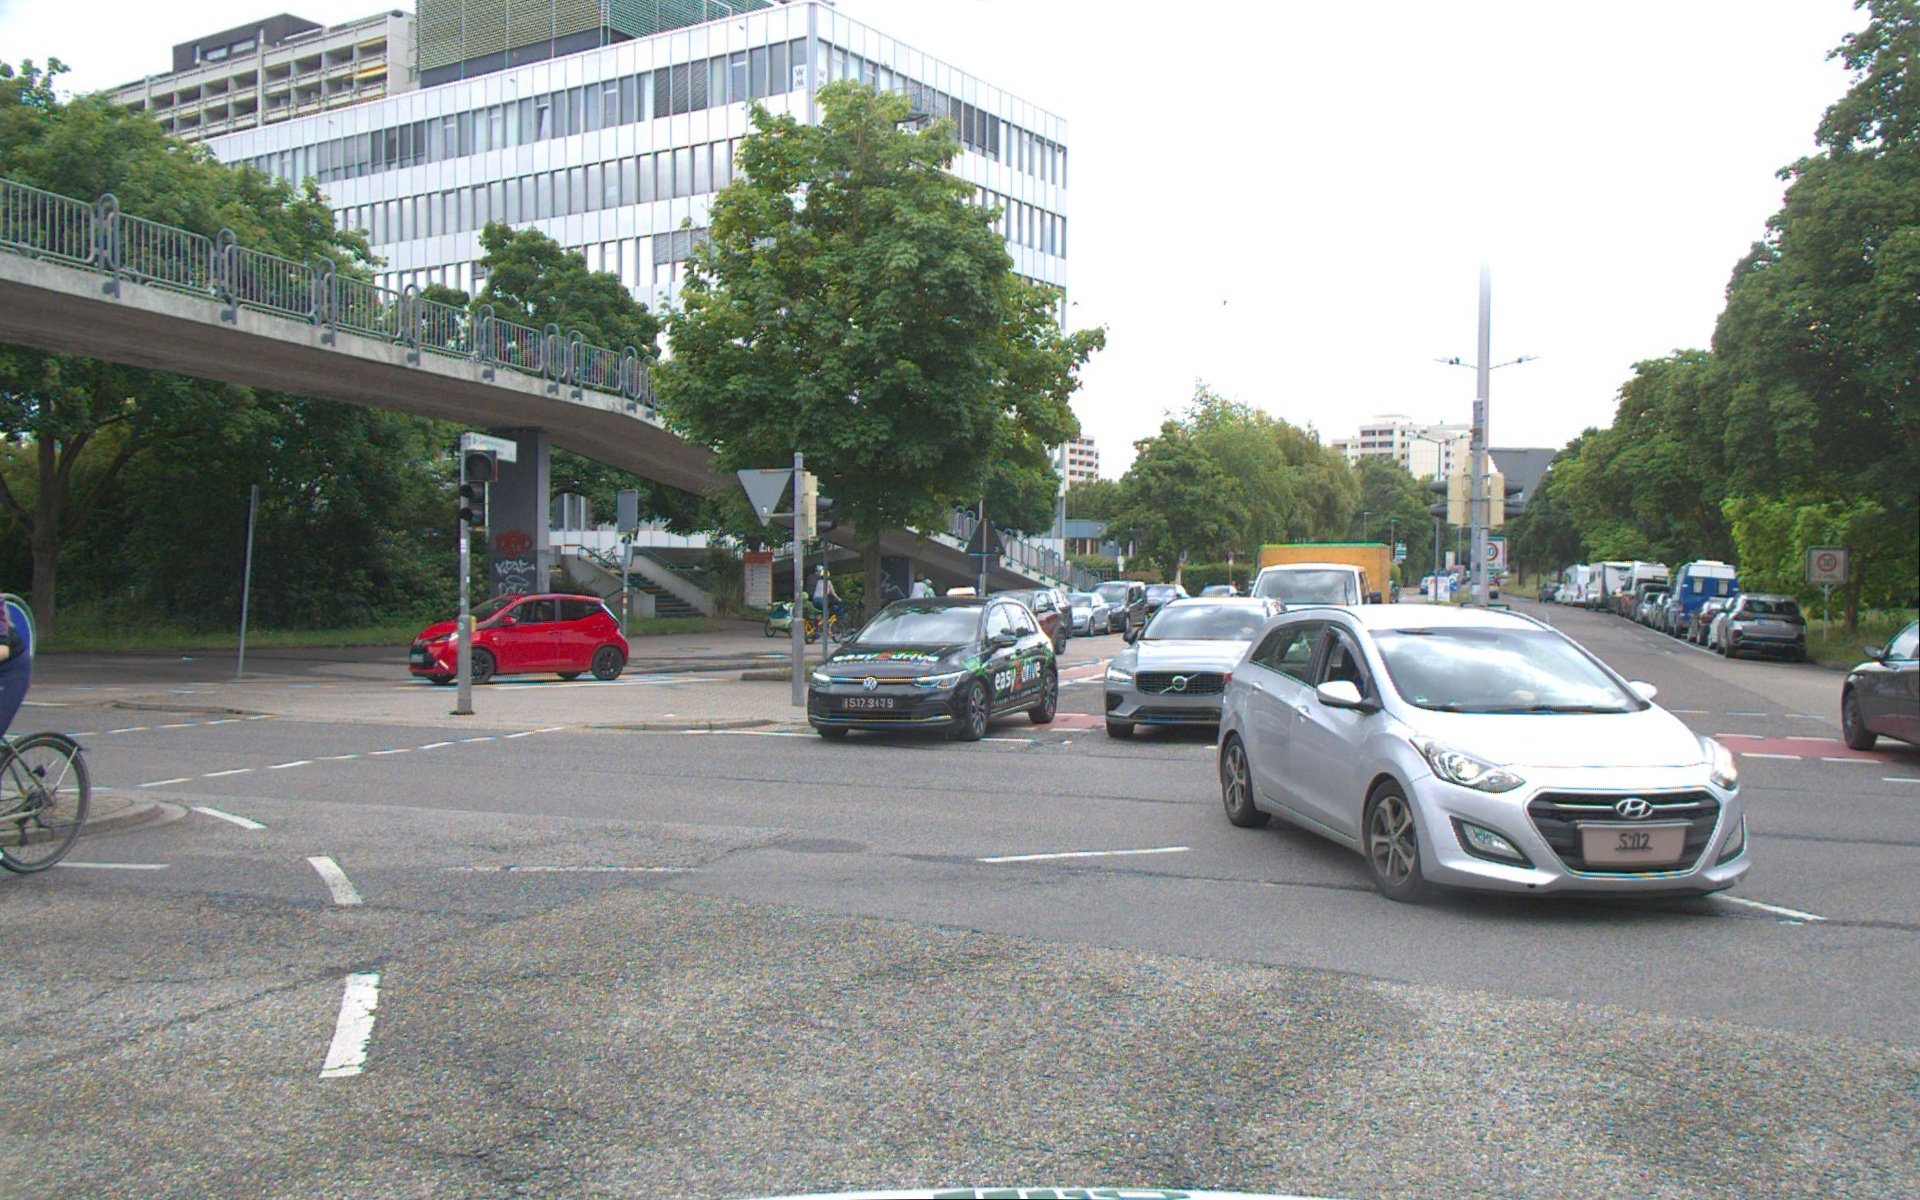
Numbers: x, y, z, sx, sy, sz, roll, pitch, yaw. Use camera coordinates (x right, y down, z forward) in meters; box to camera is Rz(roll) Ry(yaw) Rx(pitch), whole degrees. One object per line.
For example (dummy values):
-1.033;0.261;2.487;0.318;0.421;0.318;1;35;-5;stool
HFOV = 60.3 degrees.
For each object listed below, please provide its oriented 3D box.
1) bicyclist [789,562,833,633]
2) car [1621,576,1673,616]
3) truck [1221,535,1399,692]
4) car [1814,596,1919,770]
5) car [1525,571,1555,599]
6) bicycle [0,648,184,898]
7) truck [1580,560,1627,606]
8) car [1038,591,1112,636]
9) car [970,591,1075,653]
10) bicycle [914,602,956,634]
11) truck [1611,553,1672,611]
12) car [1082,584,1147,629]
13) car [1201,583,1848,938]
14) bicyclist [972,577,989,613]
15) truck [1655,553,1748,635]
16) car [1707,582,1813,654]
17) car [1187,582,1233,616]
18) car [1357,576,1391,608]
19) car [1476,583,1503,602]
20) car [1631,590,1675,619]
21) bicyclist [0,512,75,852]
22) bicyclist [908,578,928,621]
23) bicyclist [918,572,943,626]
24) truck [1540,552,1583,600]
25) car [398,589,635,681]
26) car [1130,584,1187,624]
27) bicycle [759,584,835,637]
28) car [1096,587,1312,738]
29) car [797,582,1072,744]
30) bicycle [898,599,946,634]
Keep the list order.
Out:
-4.127;-0.092;46.006;0.838;1.925;1.128;1;1;19;bicyclist
31.708;-0.204;76.460;1.683;1.790;4.003;1;1;15;car
5.755;0.133;26.557;2.110;2.237;5.843;1;1;19;truck
9.556;0.742;15.433;1.759;1.482;4.545;1;1;13;car
43.413;-1.137;123.840;1.616;1.951;3.922;1;2;13;car
-4.871;0.849;7.987;0.711;1.120;2.266;1;1;16;bicycle
37.792;-0.989;97.232;1.951;2.617;5.382;0;0;15;truck
3.958;0.434;56.354;1.636;1.411;3.898;1;1;17;car
1.525;0.485;39.375;1.527;1.369;2.971;1;1;23;car
-0.773;0.551;51.773;0.516;0.965;1.706;1;1;29;bicycle
35.152;-0.937;85.405;1.951;2.887;5.736;0;1;13;truck
5.759;0.209;61.376;1.636;1.579;3.764;1;1;17;car
2.890;0.693;9.603;1.756;1.545;4.317;0;1;-9;car
0.703;-0.177;56.569;0.421;1.239;0.568;0;0;16;bicyclist
25.719;-0.210;57.586;2.128;2.703;6.250;0;0;16;truck
20.123;0.401;41.725;1.746;1.691;4.003;1;1;16;car
12.219;-0.076;80.662;1.636;1.579;4.002;1;1;17;car
27.430;-0.513;109.526;1.952;2.049;4.002;1;0;18;car
42.790;-0.627;133.764;1.977;1.531;4.003;1;1;16;car
30.369;0.190;72.543;1.296;1.211;3.656;1;1;15;car
-4.871;0.389;8.076;0.664;1.622;0.695;0;0;16;bicyclist
-1.208;-0.007;47.848;0.396;1.201;0.377;5;3;19;bicyclist
-0.918;-0.024;51.672;0.555;1.673;0.530;0;0;32;bicyclist
39.270;-1.536;108.075;1.951;3.061;5.777;0;0;13;truck
-7.282;0.543;27.316;3.500;1.414;1.495;0;0;-41;car
8.207;0.136;68.201;1.636;1.579;4.002;1;1;17;car
-4.451;0.253;45.414;0.838;1.338;3.231;1;2;19;bicycle
2.864;0.659;18.513;1.856;1.445;4.739;1;-1;15;car
-0.121;0.564;17.960;1.732;1.503;4.392;1;1;17;car
-1.093;0.468;48.056;0.746;0.965;1.954;1;1;20;bicycle
